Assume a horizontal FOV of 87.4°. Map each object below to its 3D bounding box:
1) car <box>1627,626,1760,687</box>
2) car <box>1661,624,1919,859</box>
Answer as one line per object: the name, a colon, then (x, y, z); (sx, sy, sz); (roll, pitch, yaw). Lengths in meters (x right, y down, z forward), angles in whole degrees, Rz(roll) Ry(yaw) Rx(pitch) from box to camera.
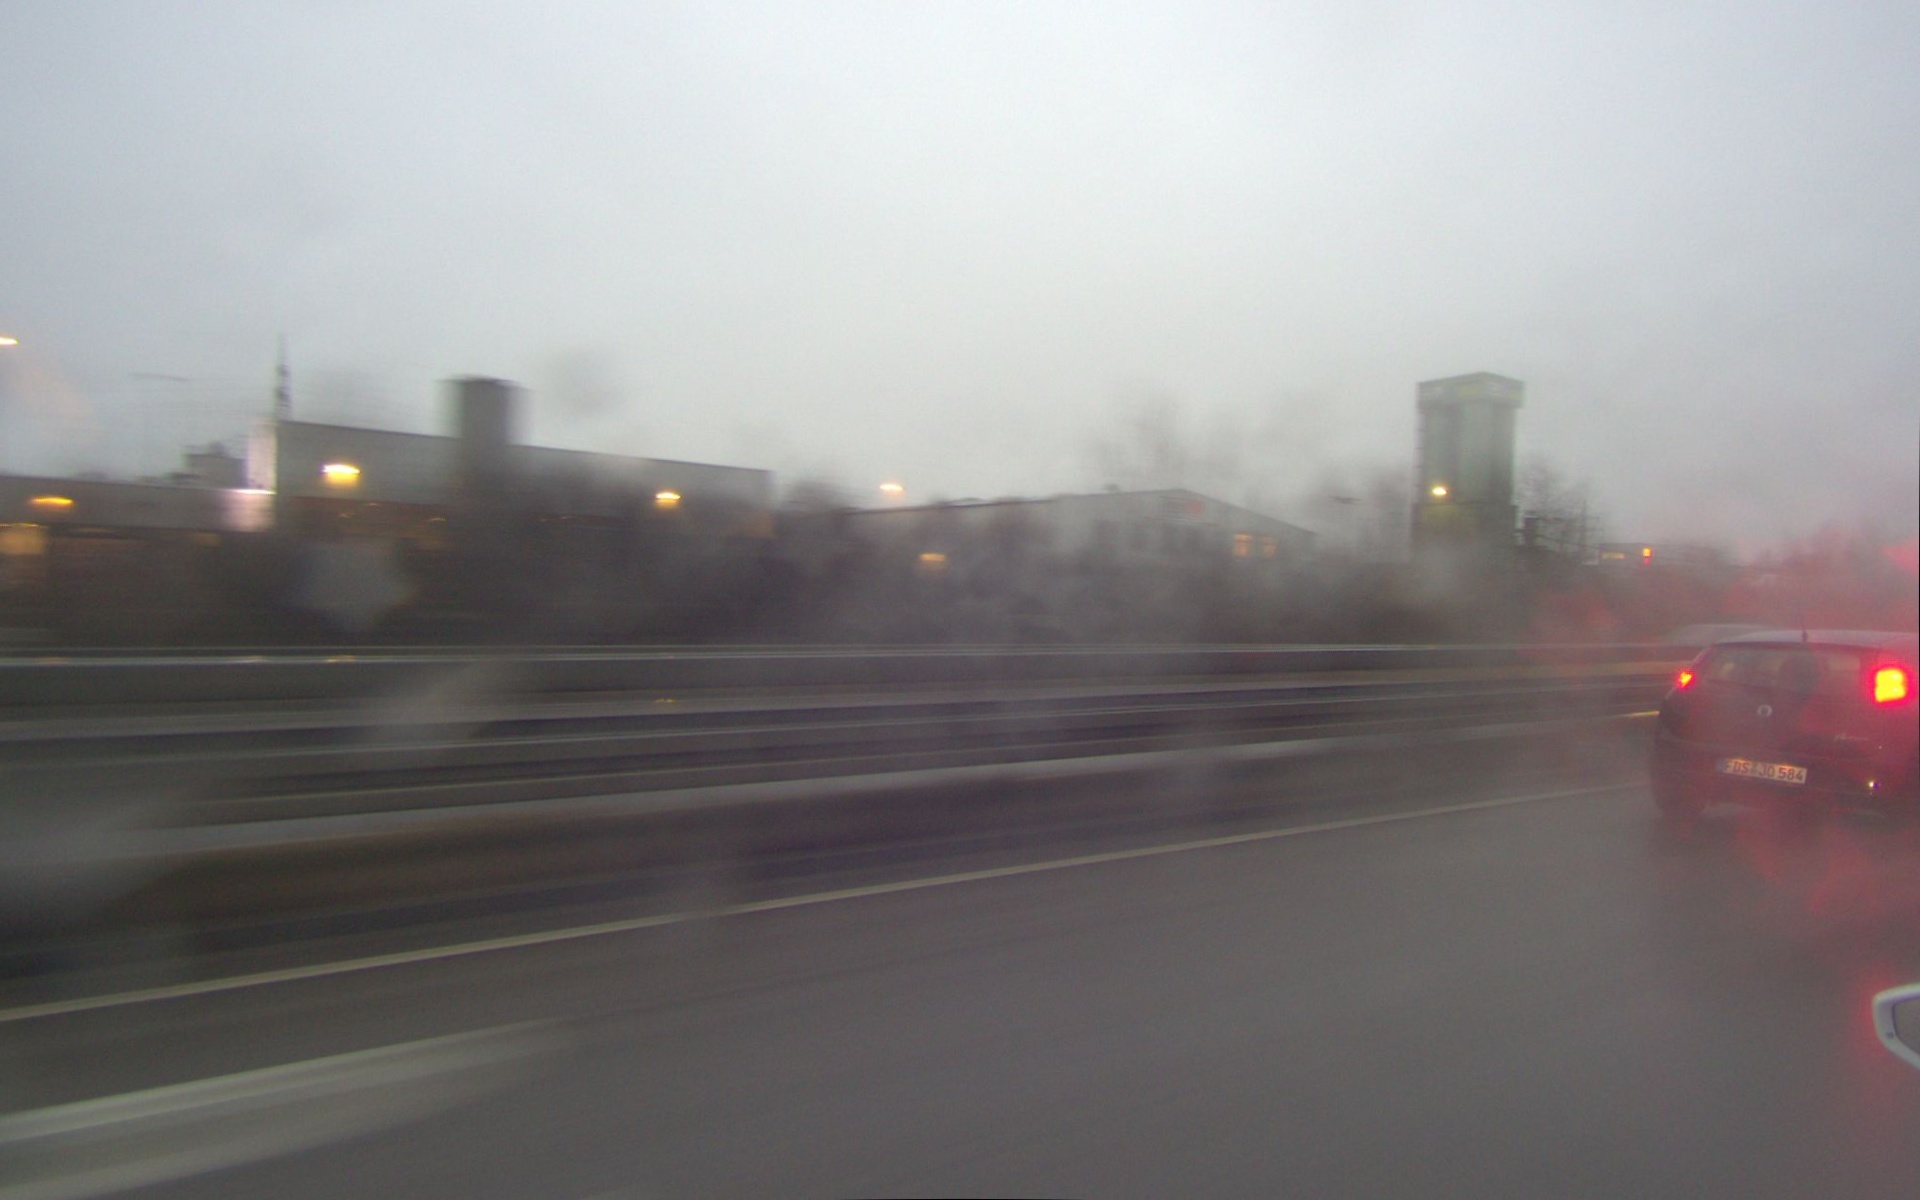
car: (20.007, 1.521, 27.362); (3.602, 1.483, 1.607); (2, 0, -30)
car: (7.450, 0.969, 7.950); (3.954, 1.410, 1.617); (2, 1, -31)
